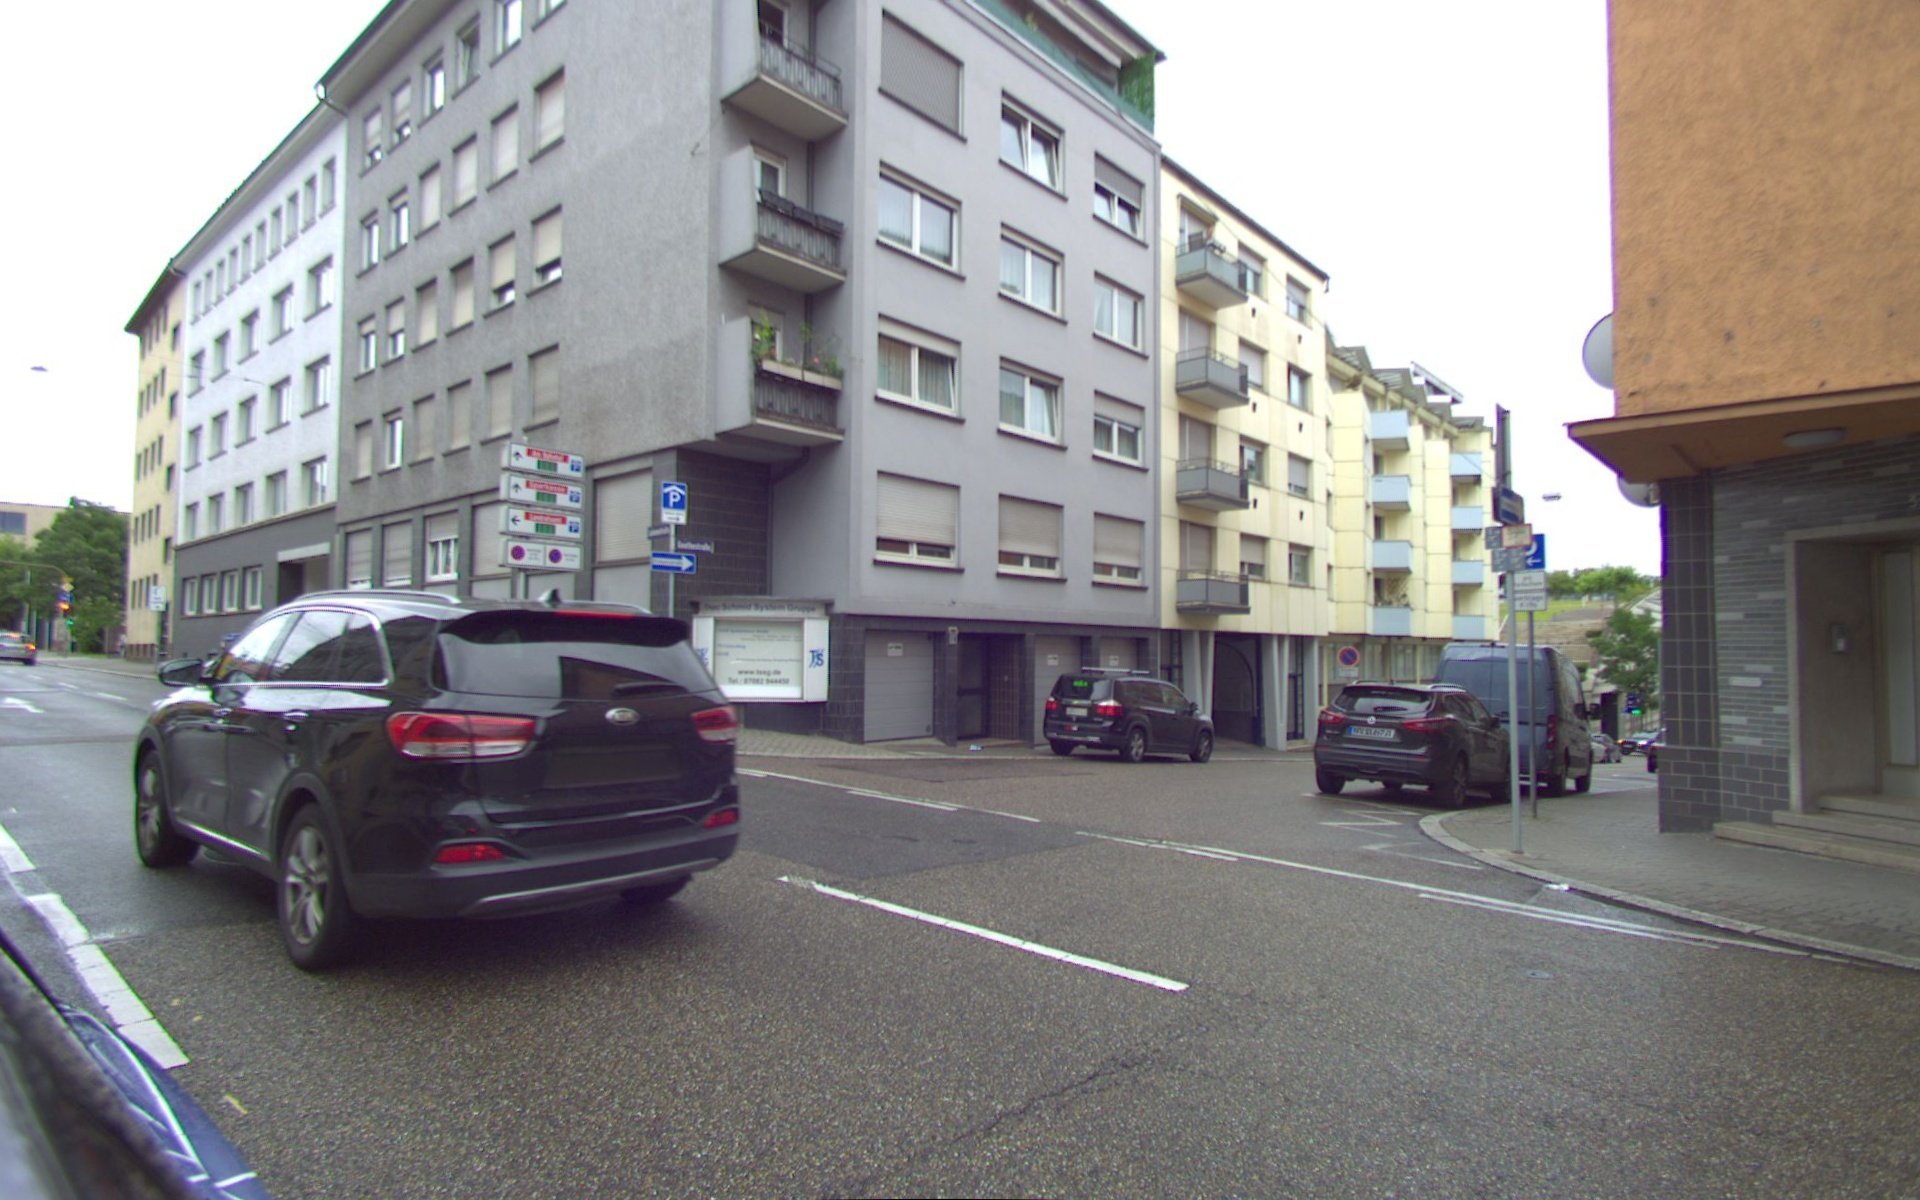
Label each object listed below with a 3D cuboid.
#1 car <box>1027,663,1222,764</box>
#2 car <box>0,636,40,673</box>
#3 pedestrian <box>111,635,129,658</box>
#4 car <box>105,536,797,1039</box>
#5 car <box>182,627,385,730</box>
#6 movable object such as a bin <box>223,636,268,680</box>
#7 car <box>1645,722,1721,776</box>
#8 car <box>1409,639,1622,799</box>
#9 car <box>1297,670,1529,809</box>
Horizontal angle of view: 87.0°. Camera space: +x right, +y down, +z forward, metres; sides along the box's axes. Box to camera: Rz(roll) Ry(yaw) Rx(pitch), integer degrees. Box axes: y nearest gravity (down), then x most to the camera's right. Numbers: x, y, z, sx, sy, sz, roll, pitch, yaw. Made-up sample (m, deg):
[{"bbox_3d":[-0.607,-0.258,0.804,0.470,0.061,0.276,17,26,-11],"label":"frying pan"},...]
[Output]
[{"bbox_3d":[3.340,2.277,19.916,1.794,1.700,4.186,-1,-8,41],"label":"car"},{"bbox_3d":[-43.993,2.458,46.617,4.371,1.602,1.858,-1,-3,41],"label":"car"},{"bbox_3d":[-44.220,2.459,53.287,0.573,1.158,0.408,4,-4,-22],"label":"pedestrian"},{"bbox_3d":[-3.107,0.745,5.692,4.471,1.740,1.817,-1,-5,41],"label":"car"},{"bbox_3d":[-11.370,1.254,16.913,4.157,1.519,1.685,-1,-5,41],"label":"car"},{"bbox_3d":[-22.882,1.846,32.416,1.096,1.343,0.933,-1,0,41],"label":"movable object such as a bin"},{"bbox_3d":[25.882,5.329,36.176,1.817,1.688,3.998,-1,-8,41],"label":"car"},{"bbox_3d":[10.505,2.217,18.829,2.249,2.480,5.975,-1,-7,41],"label":"car"},{"bbox_3d":[6.444,1.949,14.134,1.842,1.589,4.098,-1,-8,41],"label":"car"}]
